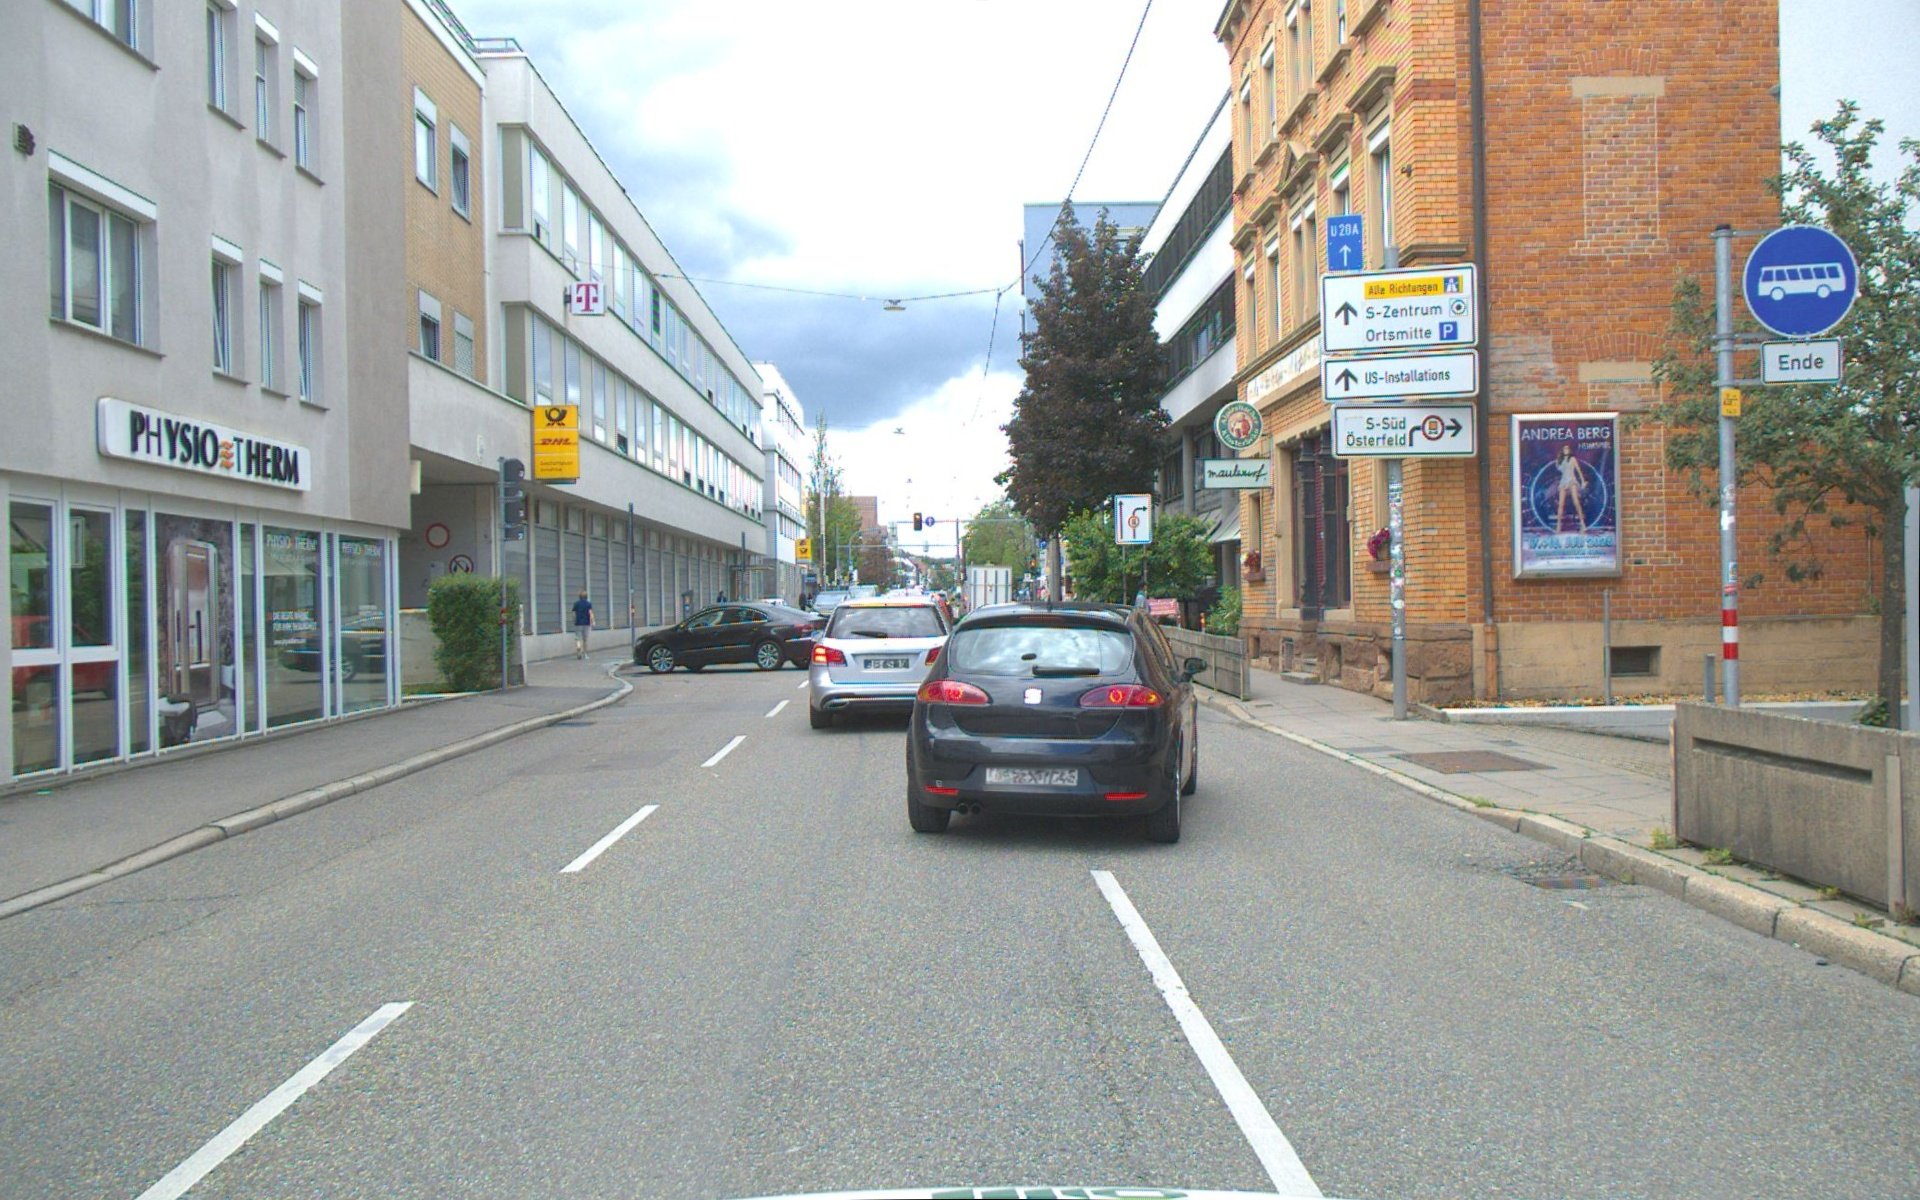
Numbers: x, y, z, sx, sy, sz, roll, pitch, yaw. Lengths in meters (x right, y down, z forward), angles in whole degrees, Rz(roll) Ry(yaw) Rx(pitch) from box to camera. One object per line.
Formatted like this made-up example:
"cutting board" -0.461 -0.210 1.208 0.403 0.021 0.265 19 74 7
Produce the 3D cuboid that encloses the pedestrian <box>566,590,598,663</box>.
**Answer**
"pedestrian" -9.495 0.662 41.577 0.630 1.800 0.809 -1 0 -3

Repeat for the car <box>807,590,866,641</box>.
"car" -4.642 0.561 62.770 1.953 1.769 4.552 -2 0 -2

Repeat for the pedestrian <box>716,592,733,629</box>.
"pedestrian" -10.655 0.474 74.693 0.642 1.651 0.681 -1 0 0

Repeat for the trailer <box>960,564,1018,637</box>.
"trailer" 1.075 0.002 63.822 1.953 2.653 5.347 -1 0 -2

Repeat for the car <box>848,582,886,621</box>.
"car" -5.192 0.073 93.272 1.953 2.049 4.900 -2 0 -2

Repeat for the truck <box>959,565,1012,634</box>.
"truck" 0.988 -0.016 66.587 1.953 2.653 3.259 -1 0 -2

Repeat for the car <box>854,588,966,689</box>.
"car" -0.852 0.607 28.183 1.767 1.580 3.736 -1 0 -2

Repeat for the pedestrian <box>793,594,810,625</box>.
"pedestrian" -9.664 0.580 100.864 0.899 1.901 0.783 -2 0 -2

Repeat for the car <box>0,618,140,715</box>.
"car" -15.561 1.061 27.796 1.718 1.482 3.690 0 0 -1

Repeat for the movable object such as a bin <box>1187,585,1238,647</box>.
"movable object such as a bin" 6.406 0.404 41.980 0.924 1.496 1.444 -3 0 -4

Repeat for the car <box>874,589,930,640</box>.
"car" -1.903 0.461 54.383 1.767 1.629 3.736 0 0 -2

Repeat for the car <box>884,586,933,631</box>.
"car" -1.942 0.310 62.245 1.767 1.629 3.736 0 0 -2

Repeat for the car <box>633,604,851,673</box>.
"car" -4.667 0.829 35.457 4.307 1.389 1.786 -1 0 20

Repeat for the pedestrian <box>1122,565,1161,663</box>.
"pedestrian" 3.826 0.293 34.934 0.679 2.049 0.676 -1 0 -3

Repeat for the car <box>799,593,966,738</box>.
"car" -0.883 0.697 19.647 1.767 1.519 3.736 -1 0 -2

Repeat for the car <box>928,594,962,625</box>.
"car" -0.811 0.507 88.434 1.767 1.629 3.736 0 0 -2

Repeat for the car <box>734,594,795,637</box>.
"car" -7.449 0.574 63.403 1.953 1.543 4.173 -1 0 -2

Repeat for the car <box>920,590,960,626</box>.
"car" -0.941 0.364 75.988 1.767 1.629 3.736 0 0 -2

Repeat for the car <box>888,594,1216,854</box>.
"car" 0.808 0.710 11.456 1.728 1.458 3.832 -1 0 11
